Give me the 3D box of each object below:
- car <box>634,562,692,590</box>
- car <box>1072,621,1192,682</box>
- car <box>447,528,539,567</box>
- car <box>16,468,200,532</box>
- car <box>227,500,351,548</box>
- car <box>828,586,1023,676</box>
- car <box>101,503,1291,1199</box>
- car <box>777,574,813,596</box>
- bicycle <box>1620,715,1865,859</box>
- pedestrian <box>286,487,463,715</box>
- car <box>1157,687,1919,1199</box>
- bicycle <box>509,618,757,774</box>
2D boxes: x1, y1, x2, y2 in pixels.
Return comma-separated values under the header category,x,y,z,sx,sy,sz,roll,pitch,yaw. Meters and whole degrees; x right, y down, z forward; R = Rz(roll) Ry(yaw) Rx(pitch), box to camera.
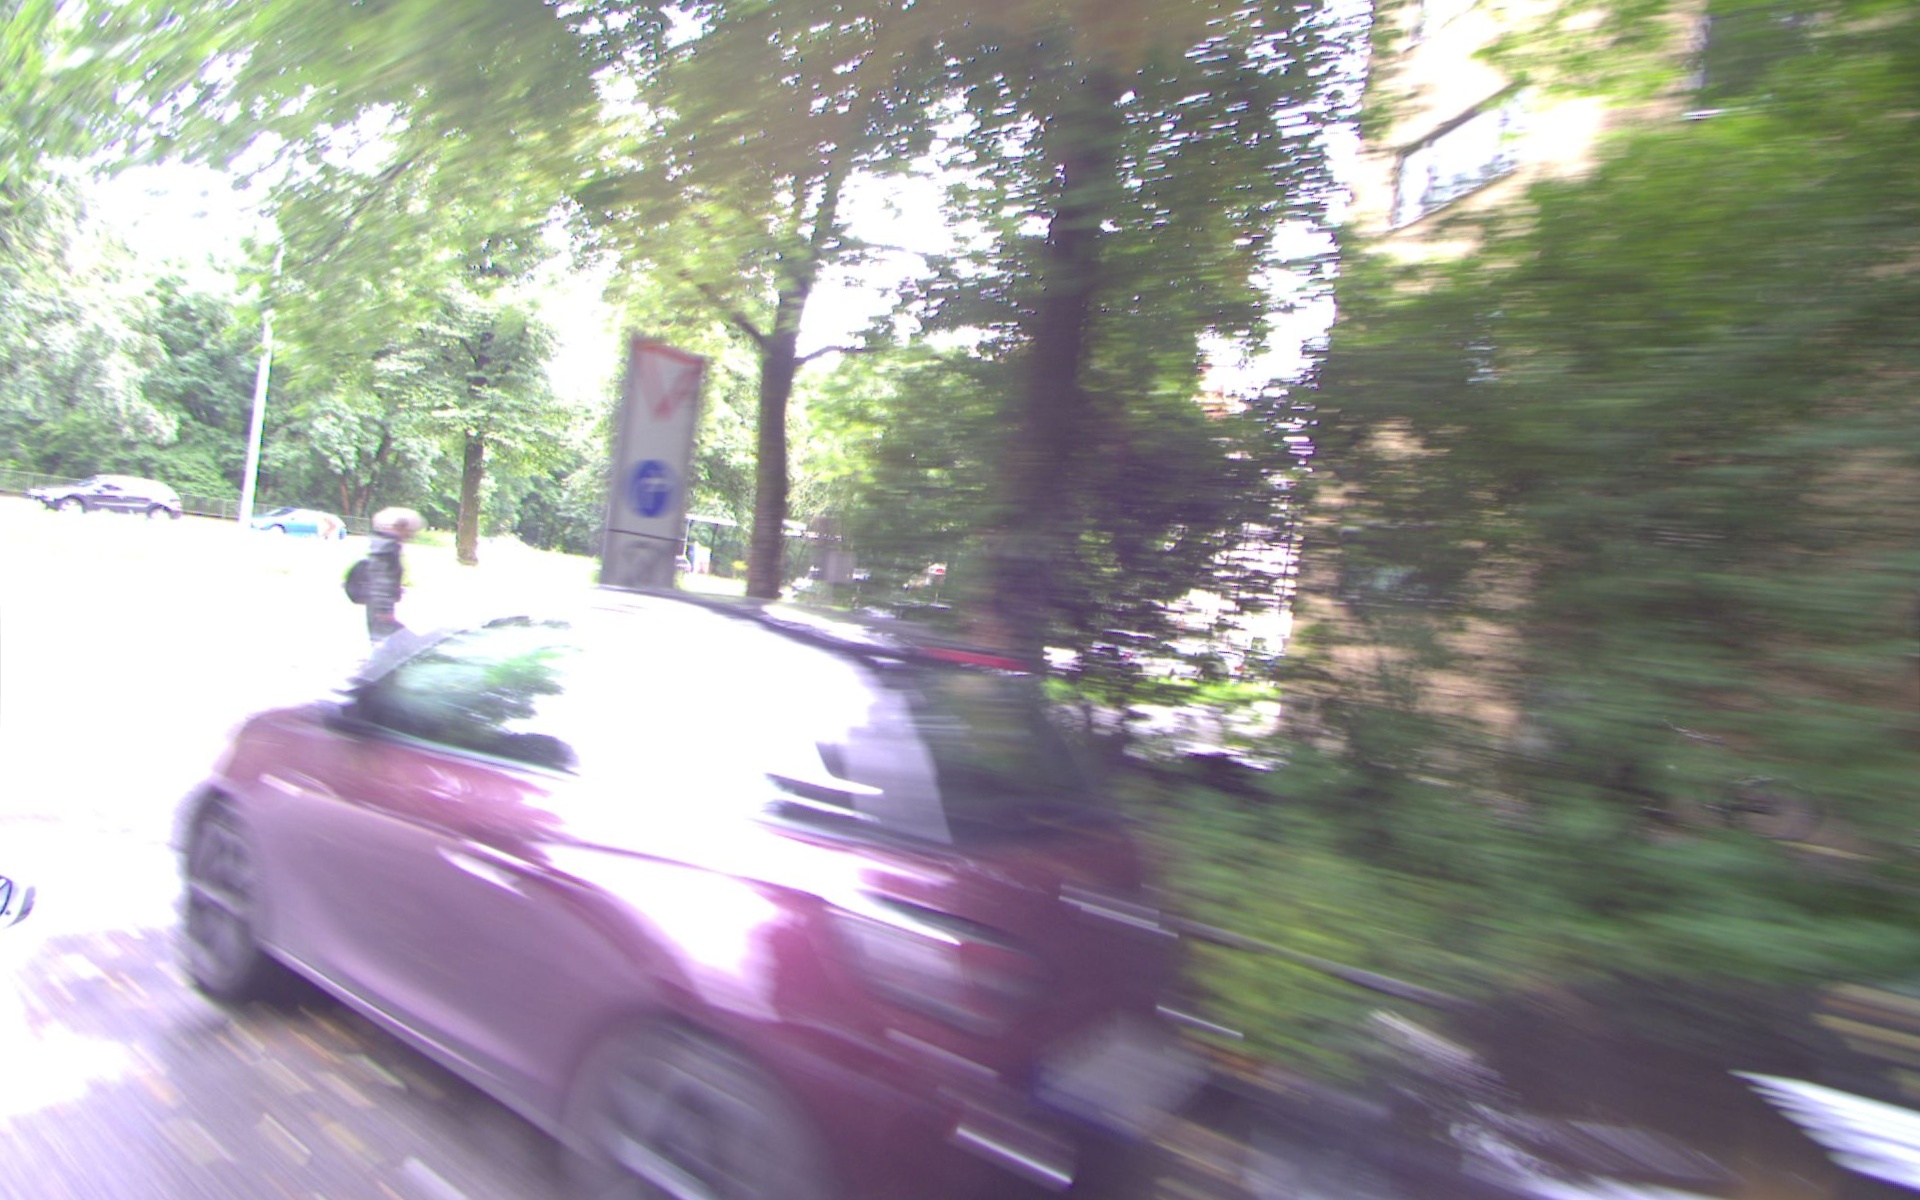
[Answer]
category,x,y,z,sx,sy,sz,roll,pitch,yaw
car,-21.105,-1.695,71.702,1.895,1.490,4.280,7,0,15
car,4.878,1.475,28.141,1.590,1.362,3.987,8,0,36
car,-26.215,-2.912,56.603,1.896,1.598,4.517,8,0,21
car,-33.056,-3.843,39.234,1.963,1.585,5.044,8,0,23
car,-30.554,-3.441,45.955,1.897,1.490,4.277,8,0,23
car,-0.571,0.665,19.677,1.590,1.362,3.987,8,0,36
car,-1.044,0.667,3.270,3.584,1.492,1.649,8,0,34
car,-13.908,-1.275,85.116,1.895,1.490,4.279,7,0,4
bicycle,7.956,1.874,10.339,1.805,1.057,0.555,8,1,29
pedestrian,-4.612,0.018,7.939,0.748,1.638,0.780,10,2,33
car,2.382,1.114,1.165,3.941,1.374,1.685,8,-1,30
bicycle,-2.311,0.703,7.317,0.269,0.994,1.750,8,1,40
